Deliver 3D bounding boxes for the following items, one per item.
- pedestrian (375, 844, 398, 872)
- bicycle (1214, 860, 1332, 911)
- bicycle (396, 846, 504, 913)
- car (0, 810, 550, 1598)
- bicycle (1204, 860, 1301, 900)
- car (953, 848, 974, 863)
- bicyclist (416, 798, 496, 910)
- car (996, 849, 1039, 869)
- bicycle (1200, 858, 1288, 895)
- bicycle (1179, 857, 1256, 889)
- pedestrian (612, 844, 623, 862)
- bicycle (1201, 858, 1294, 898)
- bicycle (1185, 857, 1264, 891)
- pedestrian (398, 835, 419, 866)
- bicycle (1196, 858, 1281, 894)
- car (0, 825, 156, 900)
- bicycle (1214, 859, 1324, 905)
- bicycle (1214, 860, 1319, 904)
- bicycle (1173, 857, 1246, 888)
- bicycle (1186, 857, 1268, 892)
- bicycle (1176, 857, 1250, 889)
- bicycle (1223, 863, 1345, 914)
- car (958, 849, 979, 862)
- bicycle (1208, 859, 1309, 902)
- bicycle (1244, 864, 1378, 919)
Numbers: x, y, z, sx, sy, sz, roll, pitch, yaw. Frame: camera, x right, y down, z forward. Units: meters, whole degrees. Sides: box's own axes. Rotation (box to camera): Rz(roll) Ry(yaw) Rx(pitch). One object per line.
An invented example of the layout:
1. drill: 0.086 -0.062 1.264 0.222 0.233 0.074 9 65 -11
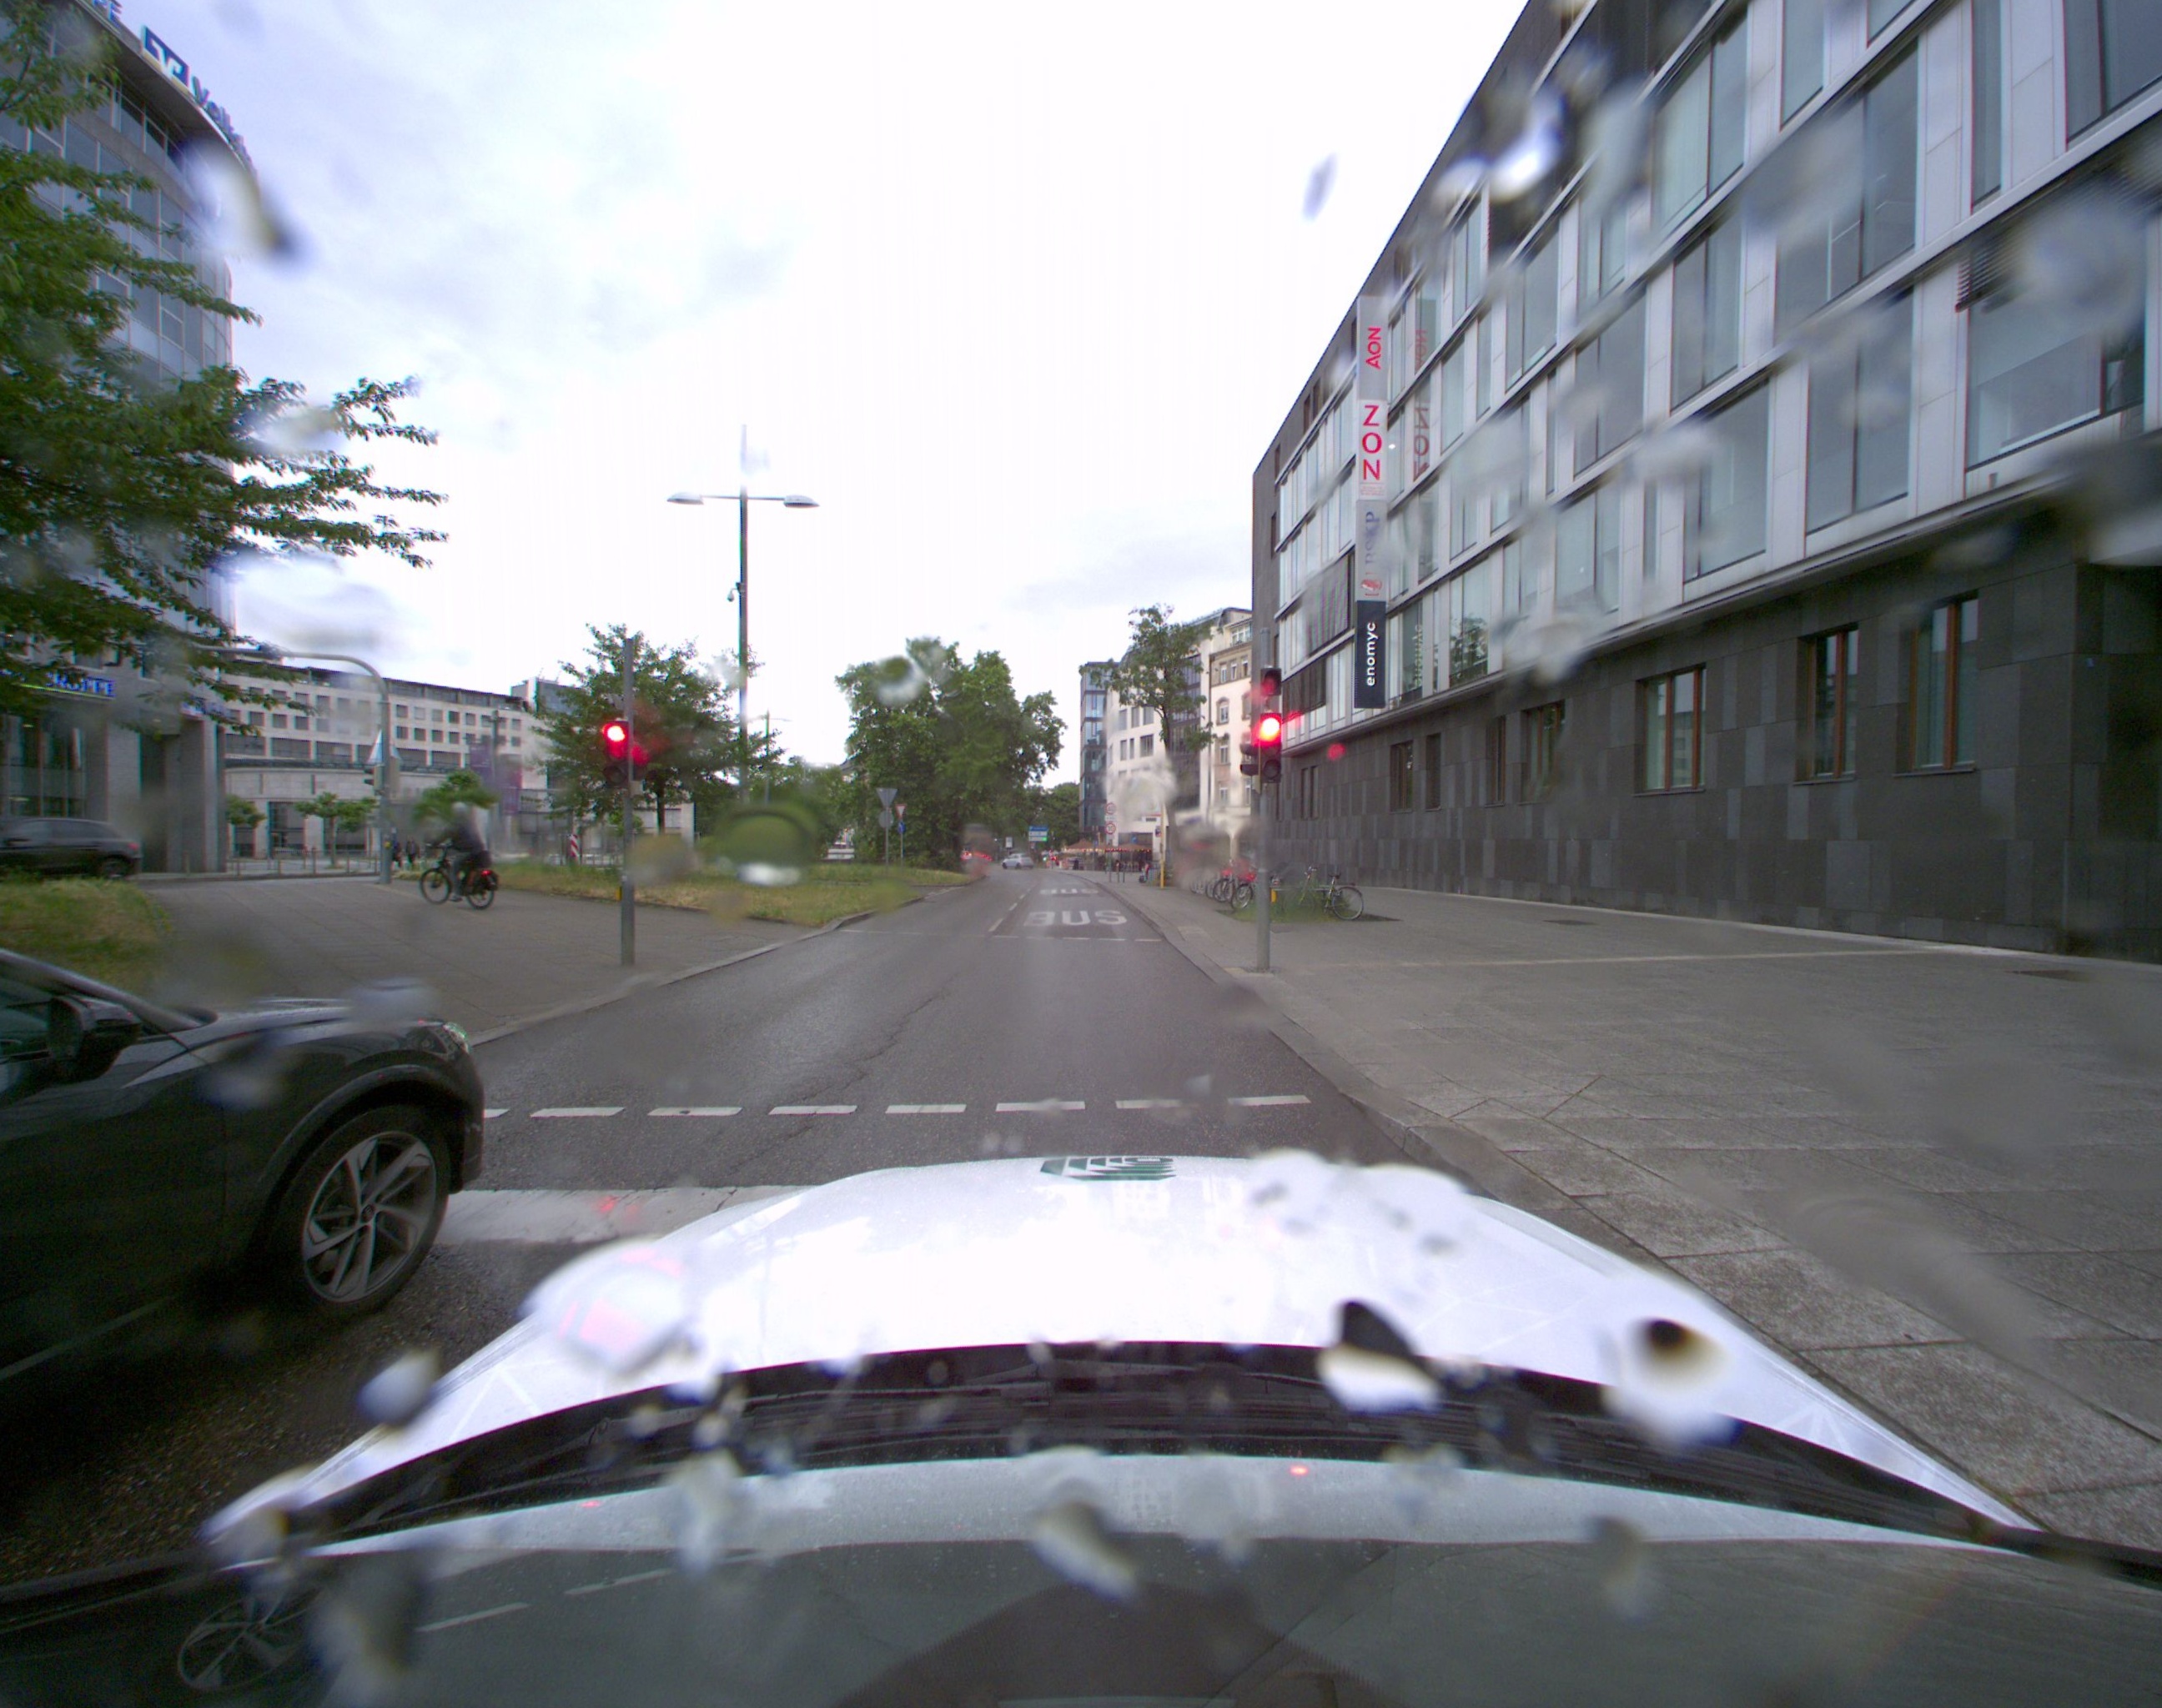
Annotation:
1. pedestrian: -38.993 0.208 45.729 0.729 1.516 0.688 -2 0 -15
2. bicycle: 4.399 0.719 18.757 2.530 1.087 0.677 2 0 -3
3. bicycle: -12.350 0.470 15.928 2.107 1.145 0.767 3 1 26
4. car: -3.115 0.710 1.323 1.843 1.616 4.248 1 1 -3
5. bicycle: 4.726 0.699 22.510 2.530 1.060 0.677 -1 0 -3
6. car: -13.998 0.196 96.901 2.164 1.706 4.535 0 0 -12
7. bicyclist: -12.151 -0.008 15.841 1.072 2.082 0.767 3 1 26
8. car: -6.305 0.519 80.621 3.951 1.647 2.011 4 0 44
9. bicycle: 4.914 0.669 24.613 2.530 1.087 0.677 -1 0 -3
10. bicycle: 4.684 0.642 28.079 2.530 1.087 0.677 -1 0 -3
11. pedestrian: -50.752 -0.113 89.168 0.789 2.014 0.737 2 0 -12
12. bicycle: 4.784 0.684 23.418 2.530 1.087 0.677 -1 0 -3
13. bicycle: 4.780 0.652 27.187 2.530 1.087 0.677 -1 0 -3
14. pedestrian: -38.198 -0.193 46.260 0.620 1.763 0.722 -2 0 -13
15. bicycle: 4.934 0.668 25.591 2.530 1.087 0.677 -1 0 -3
16. car: -22.668 0.145 17.090 1.803 1.486 4.372 2 0 -8
17. bicycle: 4.596 0.682 19.979 2.530 1.087 0.677 -1 0 -3
18. bicycle: 4.723 0.701 20.832 2.530 1.087 0.677 -1 0 -3
19. bicycle: 4.649 0.664 29.551 2.530 1.087 0.627 -1 0 -3
20. bicycle: 4.721 0.668 26.436 2.530 1.087 0.677 -1 0 -3
21. bicycle: 4.662 0.655 28.828 2.530 1.087 0.677 -1 0 -3
22. bicycle: 4.450 0.748 17.952 2.530 1.087 0.677 0 0 -3
23. car: -14.966 0.235 108.297 2.185 1.700 3.976 1 0 -18
24. bicycle: 4.692 0.697 21.643 2.530 1.087 0.677 -1 0 -3
25. bicycle: 4.630 0.745 16.469 2.530 1.057 0.677 0 0 -3
